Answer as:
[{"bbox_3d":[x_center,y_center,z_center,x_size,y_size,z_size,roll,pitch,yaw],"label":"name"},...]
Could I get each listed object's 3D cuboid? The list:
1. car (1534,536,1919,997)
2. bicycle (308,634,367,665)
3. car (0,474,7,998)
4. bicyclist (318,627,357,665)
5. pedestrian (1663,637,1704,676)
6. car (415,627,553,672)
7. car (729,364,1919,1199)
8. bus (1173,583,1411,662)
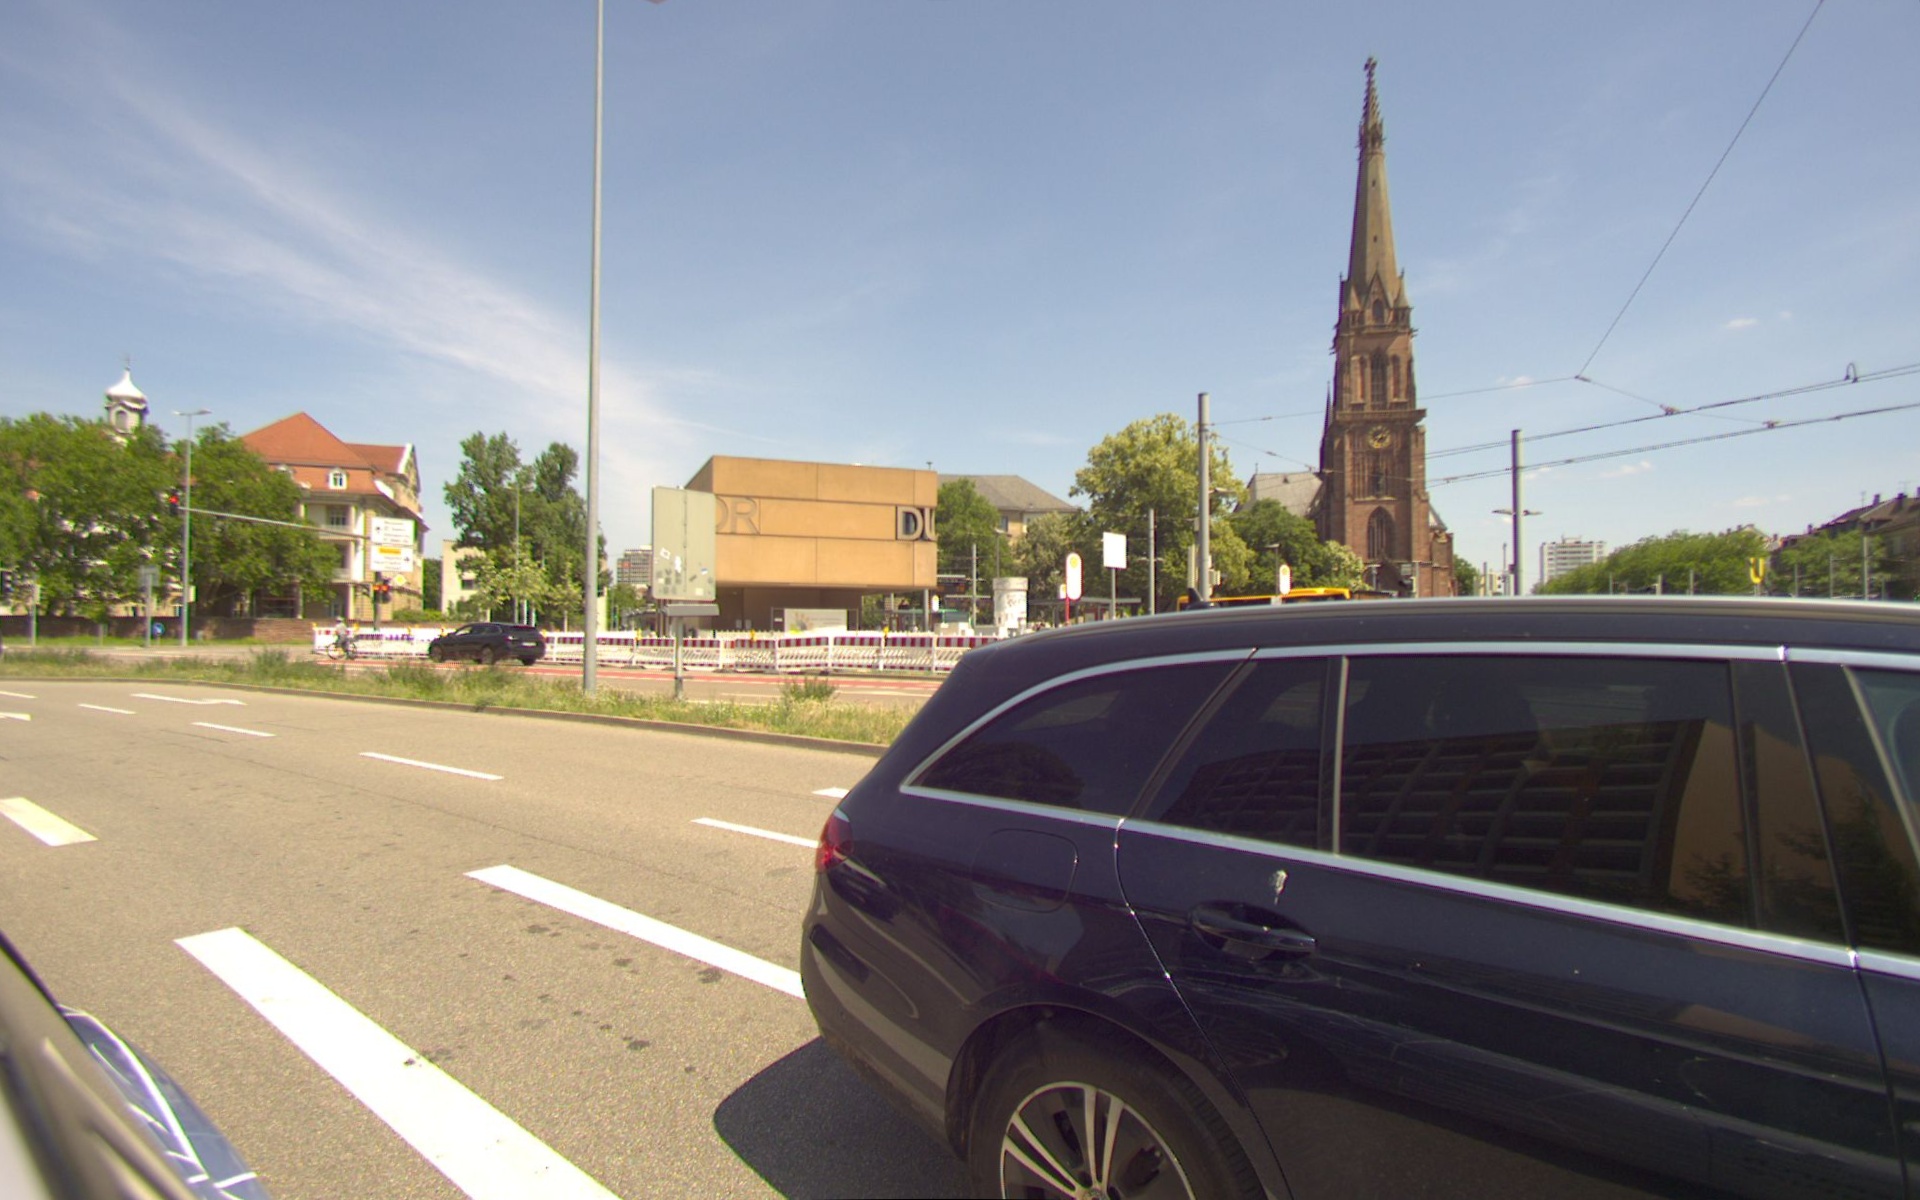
[{"bbox_3d":[4.399,0.576,3.679,3.736,1.588,1.725,-2,-3,42],"label":"car"},{"bbox_3d":[-23.398,1.843,38.027,2.220,1.080,0.871,-1,0,26],"label":"bicycle"},{"bbox_3d":[-6.096,0.558,4.662,4.845,1.985,1.946,-1,-1,40],"label":"car"},{"bbox_3d":[-23.399,1.713,38.062,1.432,1.366,0.581,-1,0,26],"label":"bicyclist"},{"bbox_3d":[25.096,1.942,35.109,0.518,1.344,1.001,1,-2,-17],"label":"pedestrian"},{"bbox_3d":[-16.765,1.704,35.617,4.825,1.476,1.980,-1,-2,29],"label":"car"},{"bbox_3d":[1.801,0.565,1.588,4.803,1.653,1.778,-2,-1,42],"label":"car"},{"bbox_3d":[14.166,1.086,45.061,2.807,3.039,12.259,1,-2,-22],"label":"bus"}]
